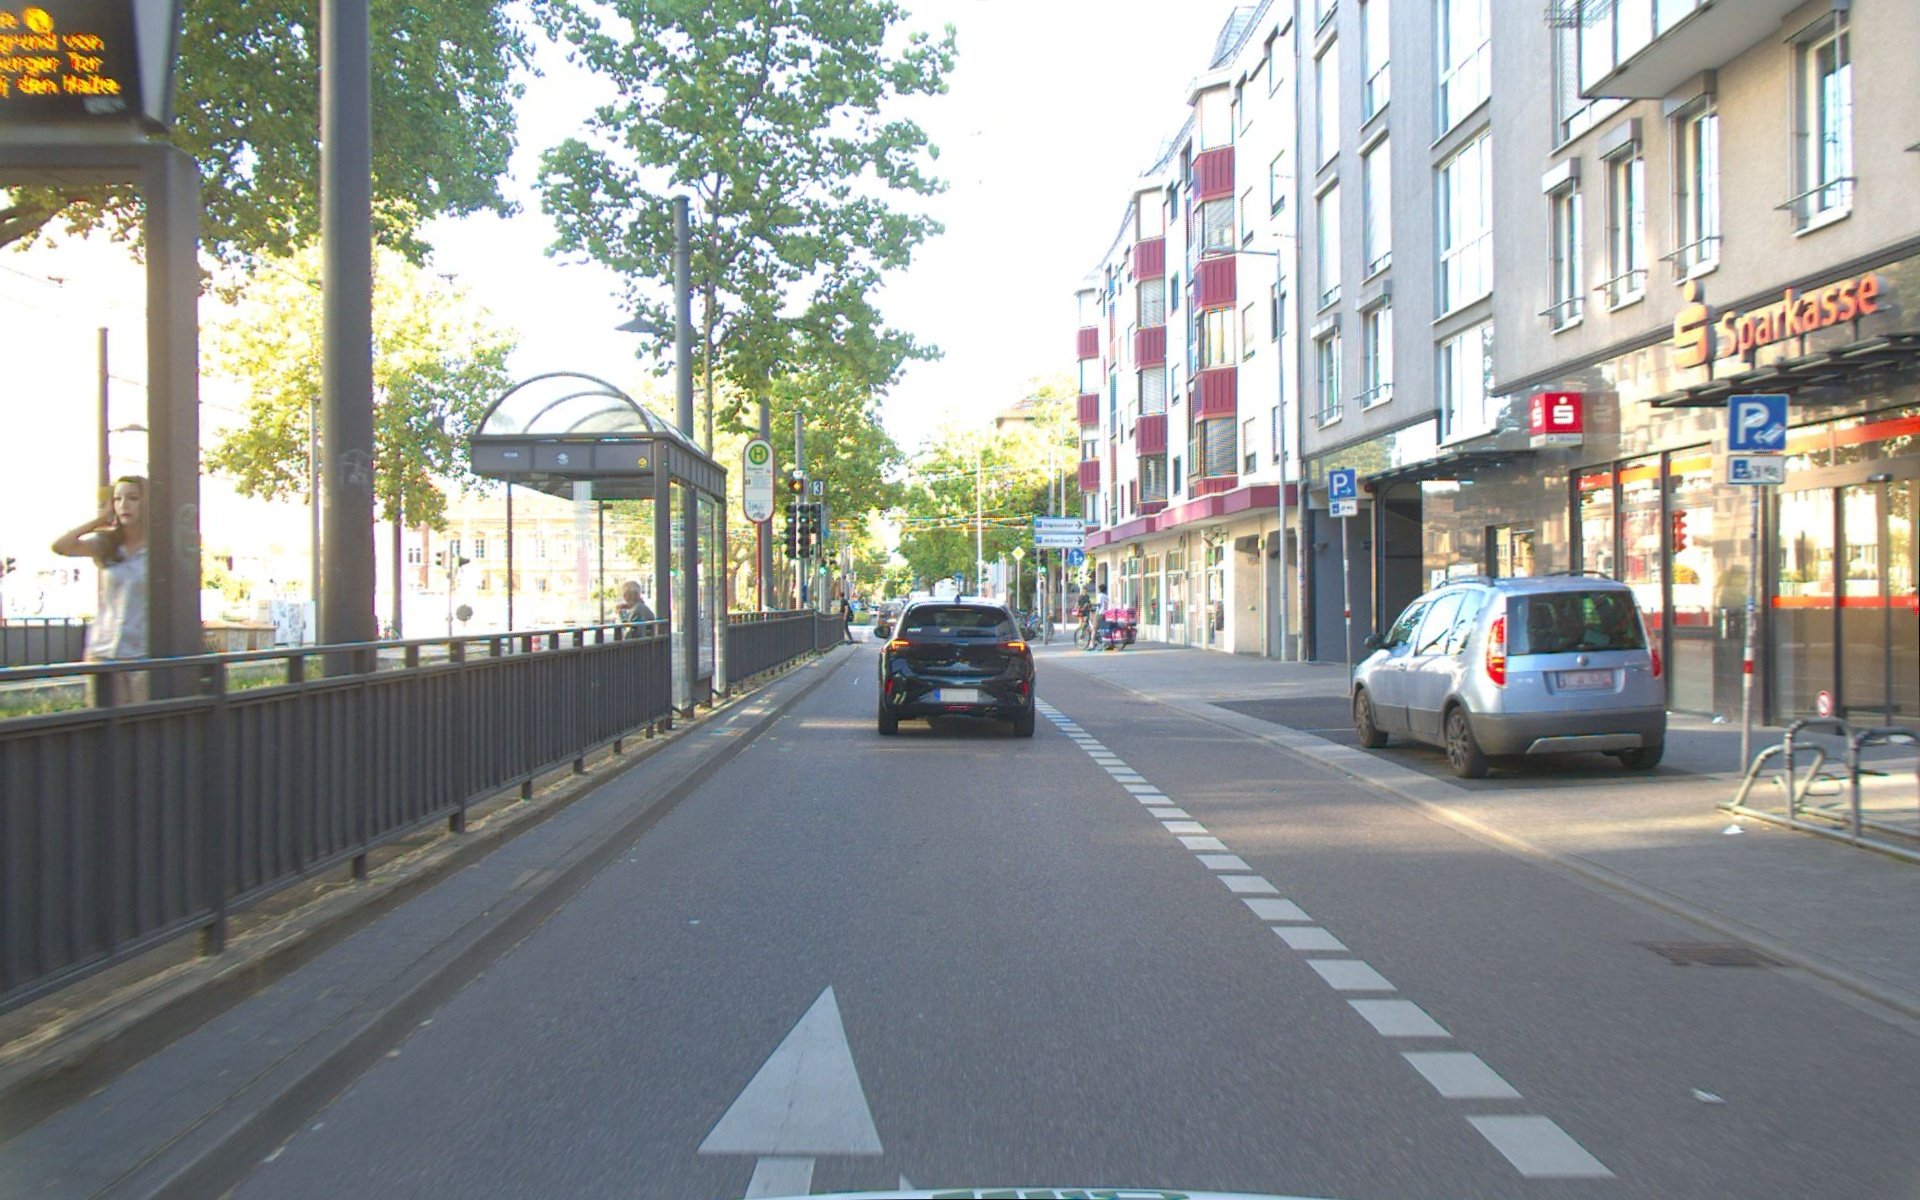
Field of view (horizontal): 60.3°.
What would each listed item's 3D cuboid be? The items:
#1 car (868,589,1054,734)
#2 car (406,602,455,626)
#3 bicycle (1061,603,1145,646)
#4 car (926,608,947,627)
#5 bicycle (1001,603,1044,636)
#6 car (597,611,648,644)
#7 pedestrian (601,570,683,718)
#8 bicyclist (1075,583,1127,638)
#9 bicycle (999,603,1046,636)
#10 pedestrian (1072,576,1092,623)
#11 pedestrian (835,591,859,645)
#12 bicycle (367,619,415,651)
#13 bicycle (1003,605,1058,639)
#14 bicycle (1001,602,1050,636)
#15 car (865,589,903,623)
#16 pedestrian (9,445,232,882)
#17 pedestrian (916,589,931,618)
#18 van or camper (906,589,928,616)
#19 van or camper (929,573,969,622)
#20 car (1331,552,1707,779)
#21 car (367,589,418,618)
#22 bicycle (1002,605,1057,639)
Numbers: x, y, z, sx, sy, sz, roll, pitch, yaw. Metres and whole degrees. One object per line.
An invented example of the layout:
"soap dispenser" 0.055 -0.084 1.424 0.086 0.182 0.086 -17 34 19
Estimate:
"car" -0.031 0.633 18.780 1.866 1.450 4.214 0 0 -1
"car" -38.521 1.003 120.444 1.952 1.733 4.379 -1 0 2
"bicycle" 4.157 0.708 48.338 0.954 1.204 2.561 0 -1 -39
"car" -2.075 1.525 143.945 1.754 1.536 3.872 -2 0 -2
"bicycle" 2.360 0.734 62.152 1.589 1.220 0.496 -1 -1 2
"car" -21.007 1.672 103.008 1.951 1.982 4.426 0 0 4
"pedestrian" -2.952 0.398 15.413 0.613 1.342 0.801 0 -1 -1
"bicyclist" 4.122 0.302 48.371 1.050 1.567 1.064 0 -1 -39
"bicycle" 2.365 0.750 62.906 1.764 1.220 0.546 -1 -2 2
"pedestrian" 4.964 -0.025 67.098 0.708 1.890 0.800 -1 -1 -3
"pedestrian" -3.728 0.594 54.609 0.719 1.777 0.712 0 0 3
"bicycle" -17.496 1.074 50.874 0.796 0.962 1.726 0 0 4
"bicycle" 2.559 0.792 60.081 1.902 1.191 0.571 -1 -1 -5
"bicycle" 2.427 0.702 61.582 1.793 1.242 0.496 -1 -1 1
"car" -3.897 0.334 85.258 1.795 1.651 4.283 1 -1 -1
"pedestrian" -3.828 0.279 7.594 0.632 1.904 0.753 0 -1 -1
"pedestrian" -2.540 0.259 115.792 1.015 2.060 1.211 0 -1 -3
"van or camper" -4.992 0.341 190.534 2.436 3.046 5.432 1 -1 -1
"van or camper" -0.847 -0.143 117.165 2.329 3.179 7.545 -3 0 -3
"car" 4.813 0.524 14.956 1.796 1.651 4.283 -3 0 -1
"car" -41.432 0.259 120.865 1.952 2.049 4.726 -1 0 2
"bicycle" 2.547 0.796 60.754 1.939 1.220 0.590 -1 -1 -7
